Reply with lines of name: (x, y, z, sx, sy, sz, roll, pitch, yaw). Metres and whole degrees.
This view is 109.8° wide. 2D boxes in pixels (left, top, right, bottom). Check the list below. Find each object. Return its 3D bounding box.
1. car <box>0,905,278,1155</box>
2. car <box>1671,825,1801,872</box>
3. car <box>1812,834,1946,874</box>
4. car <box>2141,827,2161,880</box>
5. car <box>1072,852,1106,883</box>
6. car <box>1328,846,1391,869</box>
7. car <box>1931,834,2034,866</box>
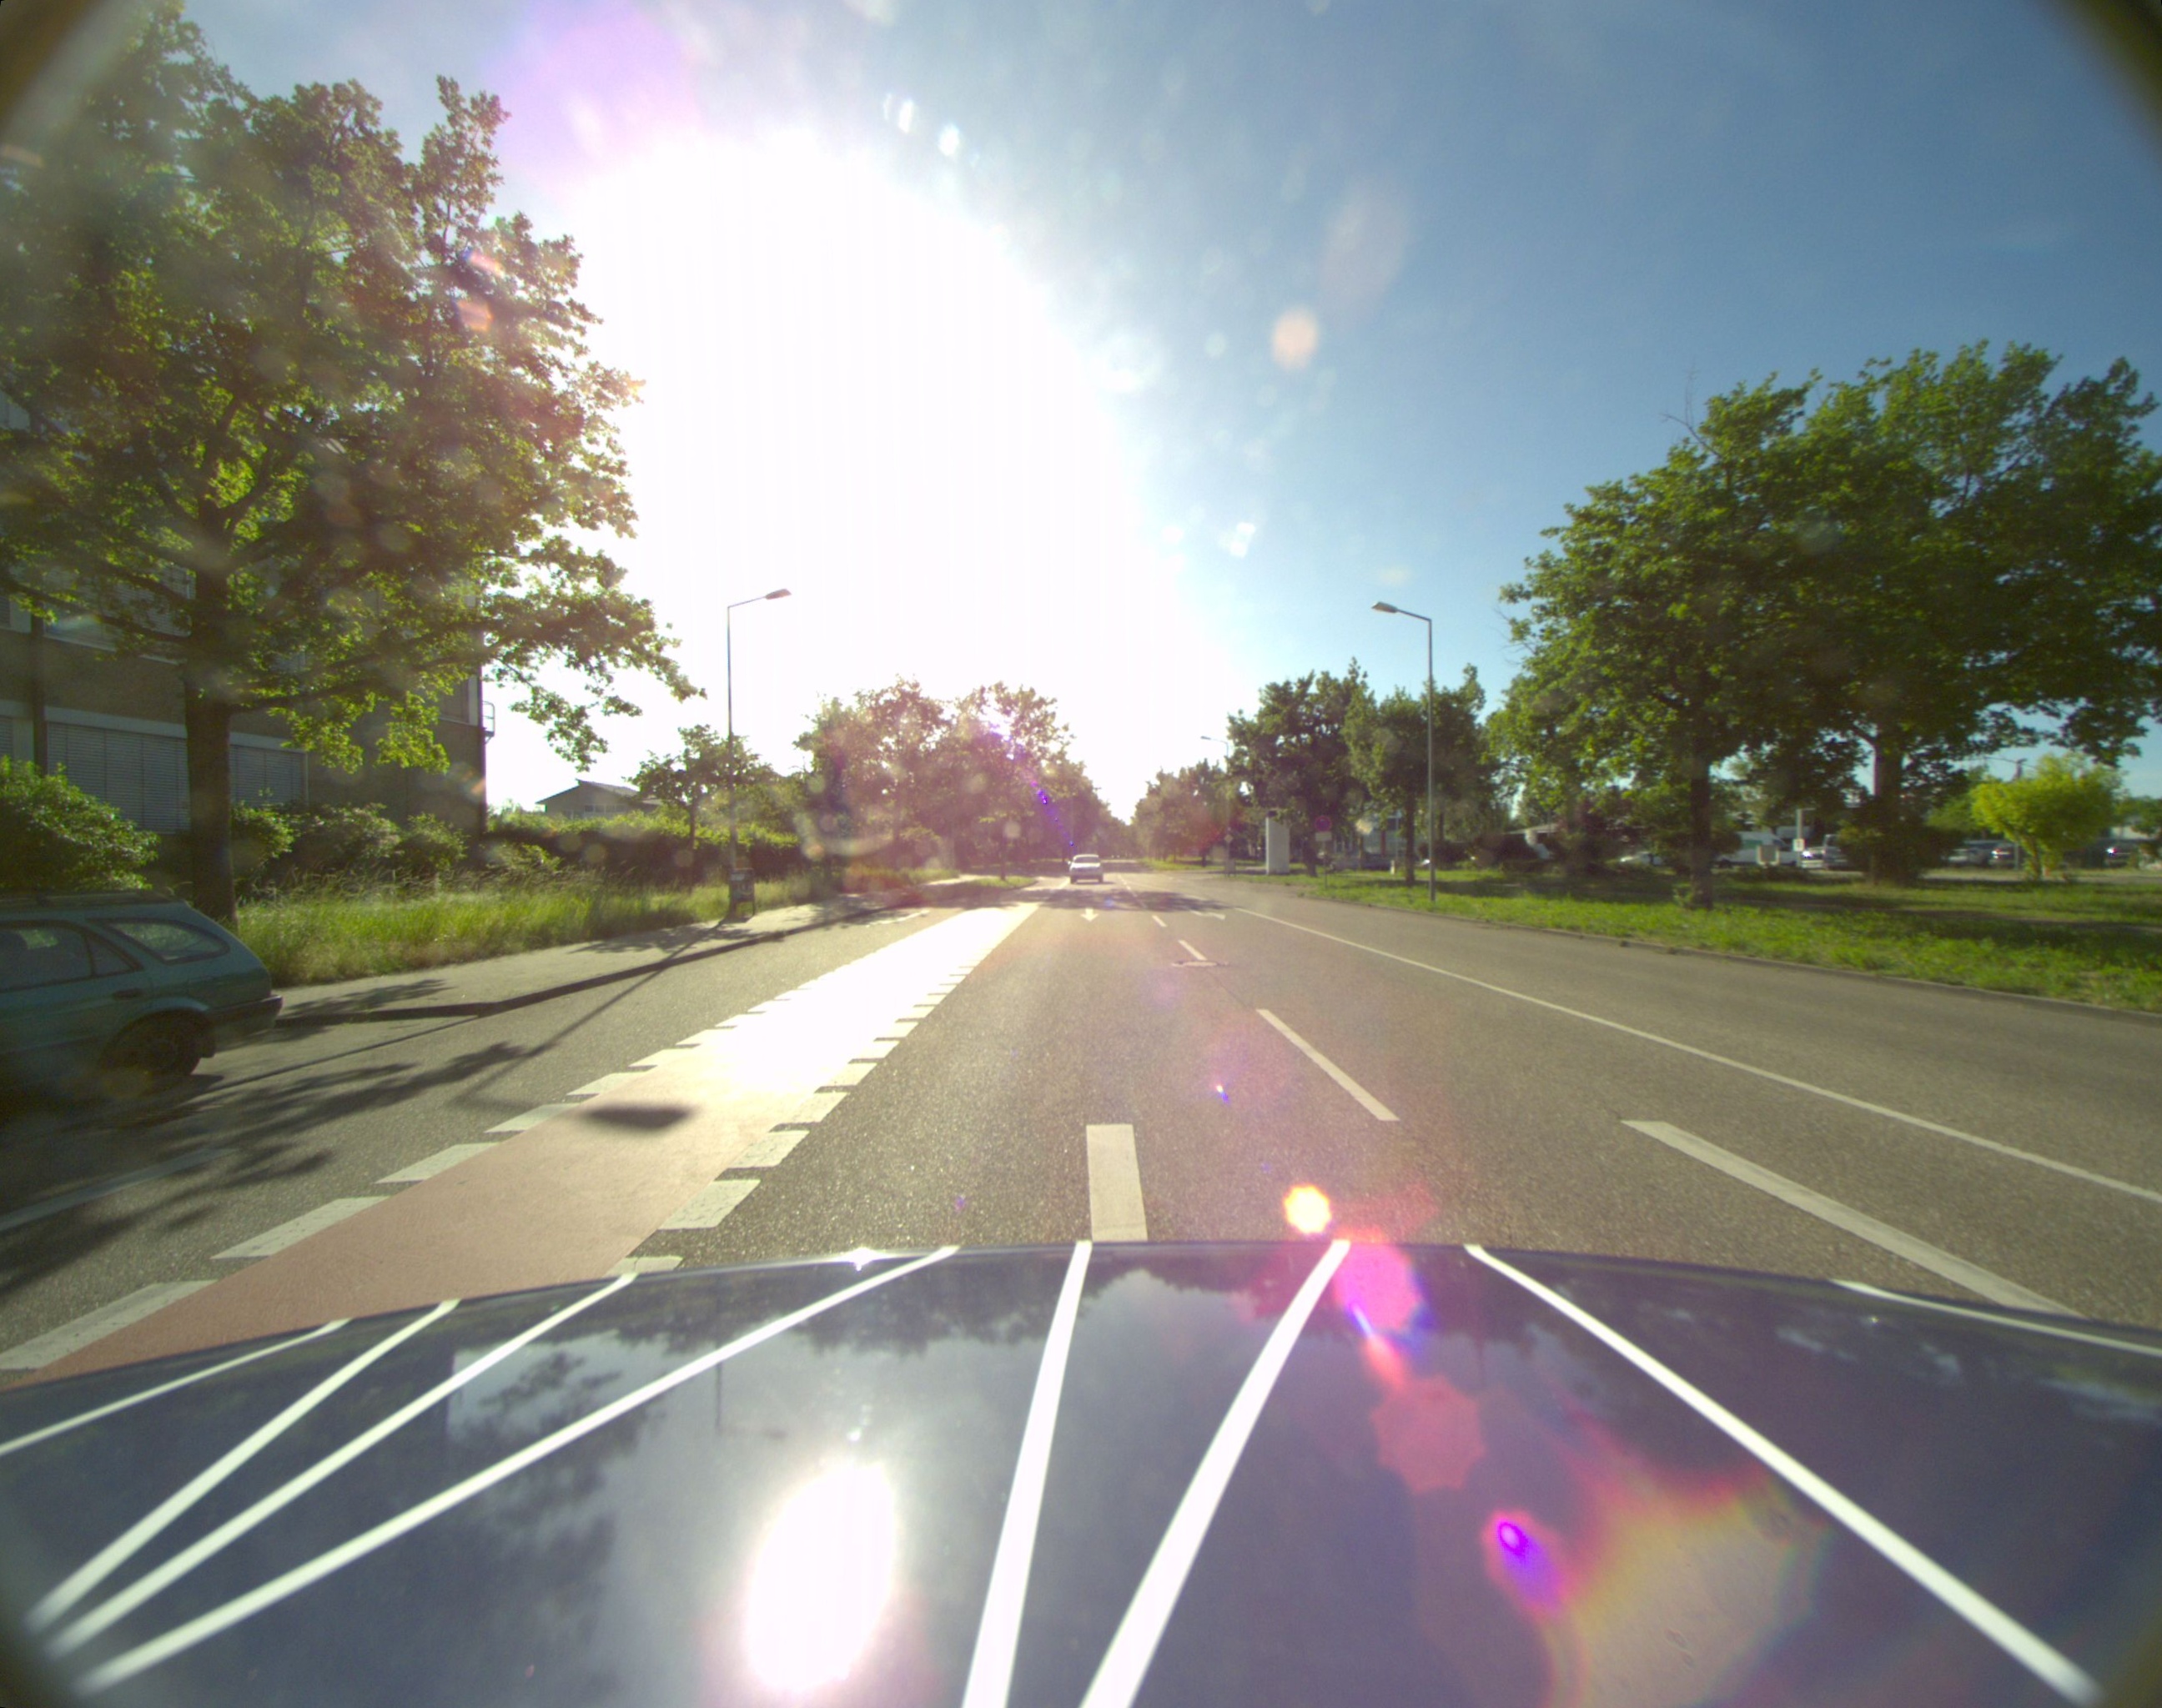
car: (-7.523, 1.129, 4.219, 1.706, 1.460, 4.141, -1, -1, 0)
car: (39.903, -0.352, 46.395, 6.023, 2.540, 2.409, -2, 1, -4)
car: (40.064, -0.018, 38.218, 4.642, 1.771, 1.990, -2, 1, 0)
car: (33.890, -0.098, 22.037, 3.817, 1.562, 1.736, -2, -1, 0)
car: (0.497, 0.735, 43.218, 1.721, 1.598, 4.068, -2, 0, 2)
car: (23.933, 0.287, 65.368, 4.637, 1.822, 2.000, -2, 1, 0)
car: (52.092, -0.224, 43.957, 3.860, 1.661, 1.762, -2, 1, 0)
